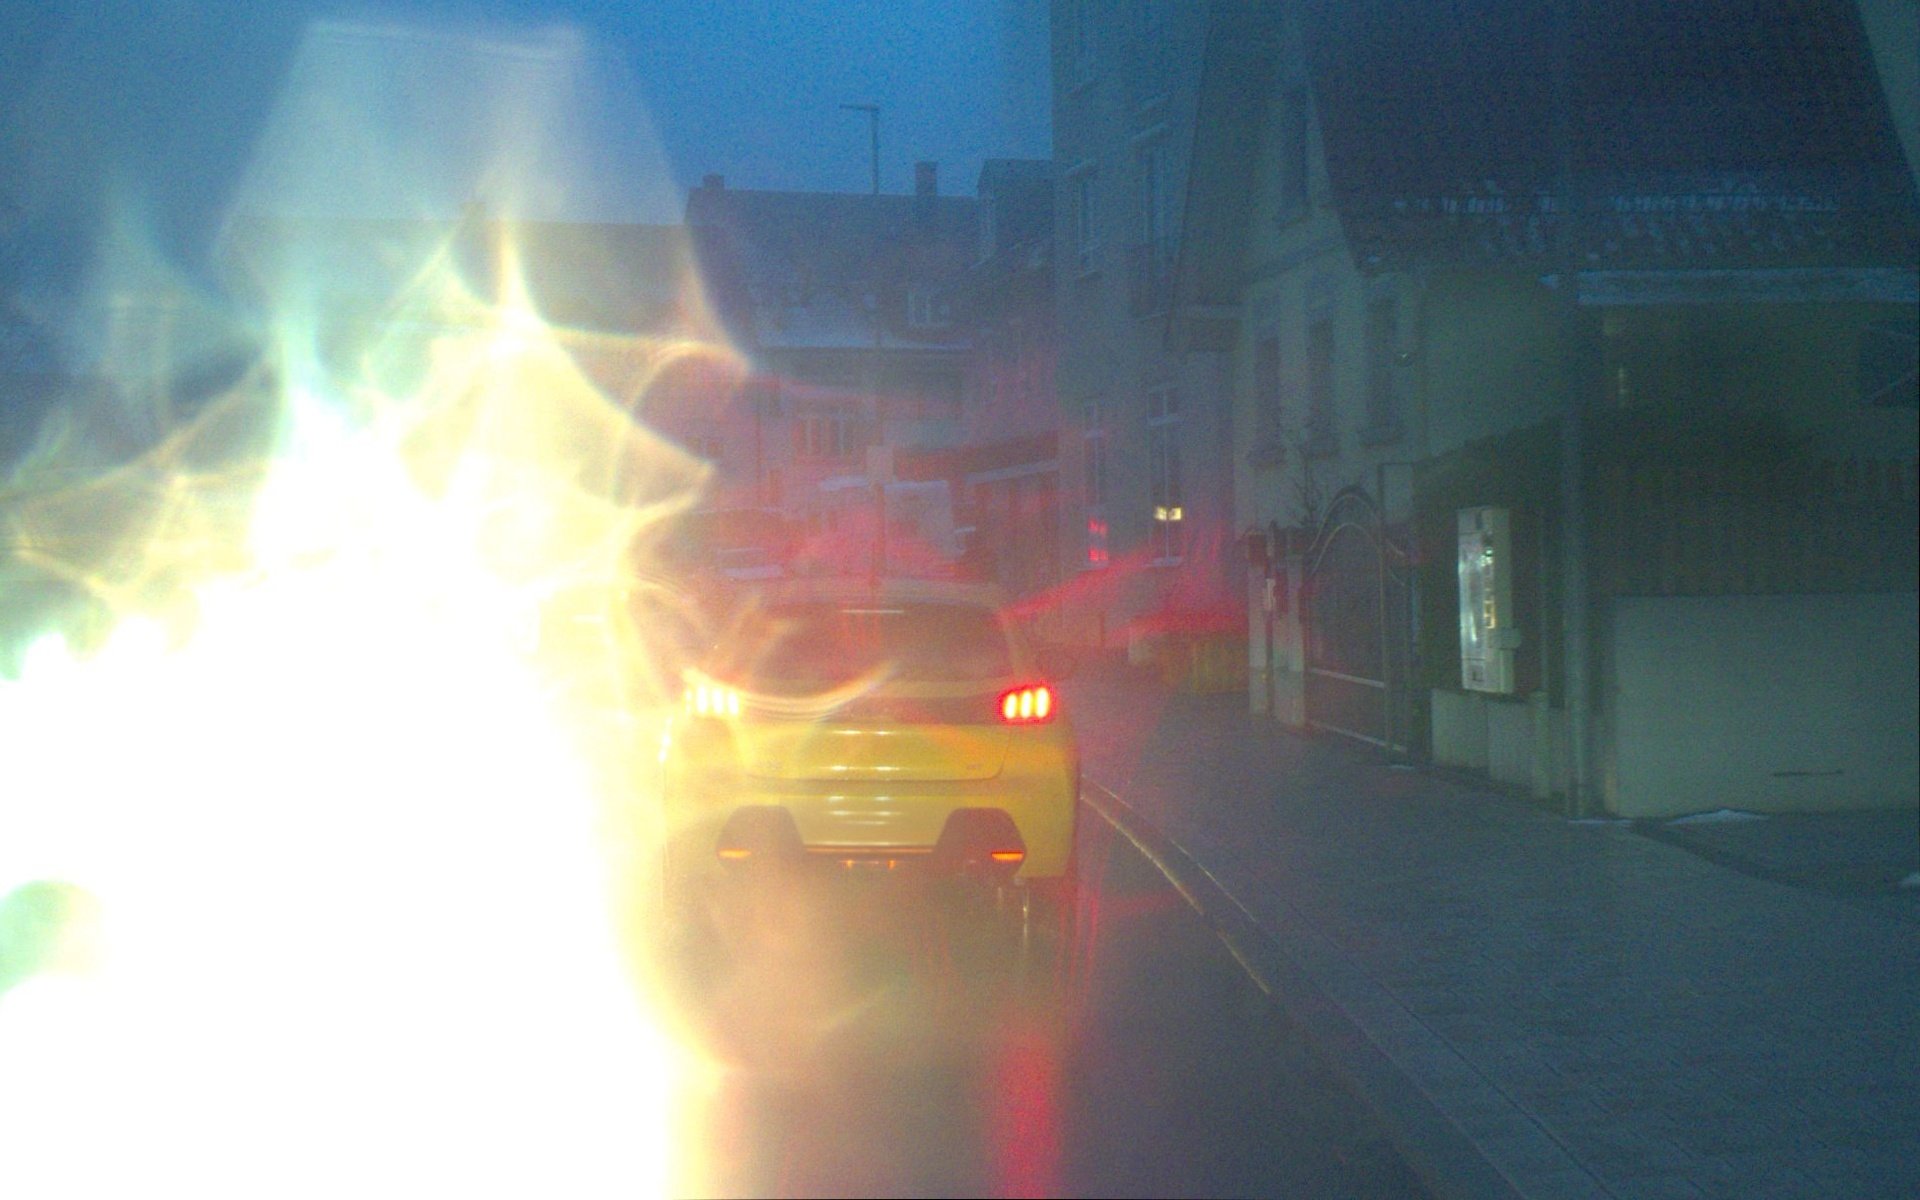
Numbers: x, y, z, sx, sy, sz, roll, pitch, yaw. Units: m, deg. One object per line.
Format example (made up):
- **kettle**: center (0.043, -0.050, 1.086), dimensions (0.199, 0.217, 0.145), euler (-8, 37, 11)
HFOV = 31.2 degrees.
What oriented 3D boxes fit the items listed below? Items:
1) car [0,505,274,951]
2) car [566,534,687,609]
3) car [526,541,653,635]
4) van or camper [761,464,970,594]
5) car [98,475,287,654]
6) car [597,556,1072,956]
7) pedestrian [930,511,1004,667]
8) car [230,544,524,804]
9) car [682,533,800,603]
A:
- **car**: center (-4.540, 0.435, 16.093), dimensions (1.993, 1.700, 4.968), euler (2, 2, -5)
- **car**: center (-8.364, -0.734, 85.877), dimensions (1.993, 1.759, 4.352), euler (-3, 2, -19)
- **car**: center (-6.571, -0.216, 60.649), dimensions (1.993, 1.583, 4.001), euler (1, 0, -9)
- **van or camper**: center (-2.463, -1.781, 87.261), dimensions (2.650, 3.037, 6.735), euler (-4, 2, -25)
- **car**: center (-11.802, -0.510, 53.300), dimensions (2.485, 2.551, 6.763), euler (1, 0, -10)
- **car**: center (-0.553, 0.589, 15.269), dimensions (1.814, 1.528, 4.000), euler (1, 0, -2)
- **pedestrian**: center (0.075, -0.138, 38.720), dimensions (0.745, 1.723, 0.873), euler (-1, 2, -6)
- **car**: center (-4.380, 0.469, 25.879), dimensions (1.951, 1.541, 4.417), euler (-2, 4, -9)
- **car**: center (-5.524, -0.789, 86.361), dimensions (1.993, 1.605, 4.175), euler (-3, 0, -17)
